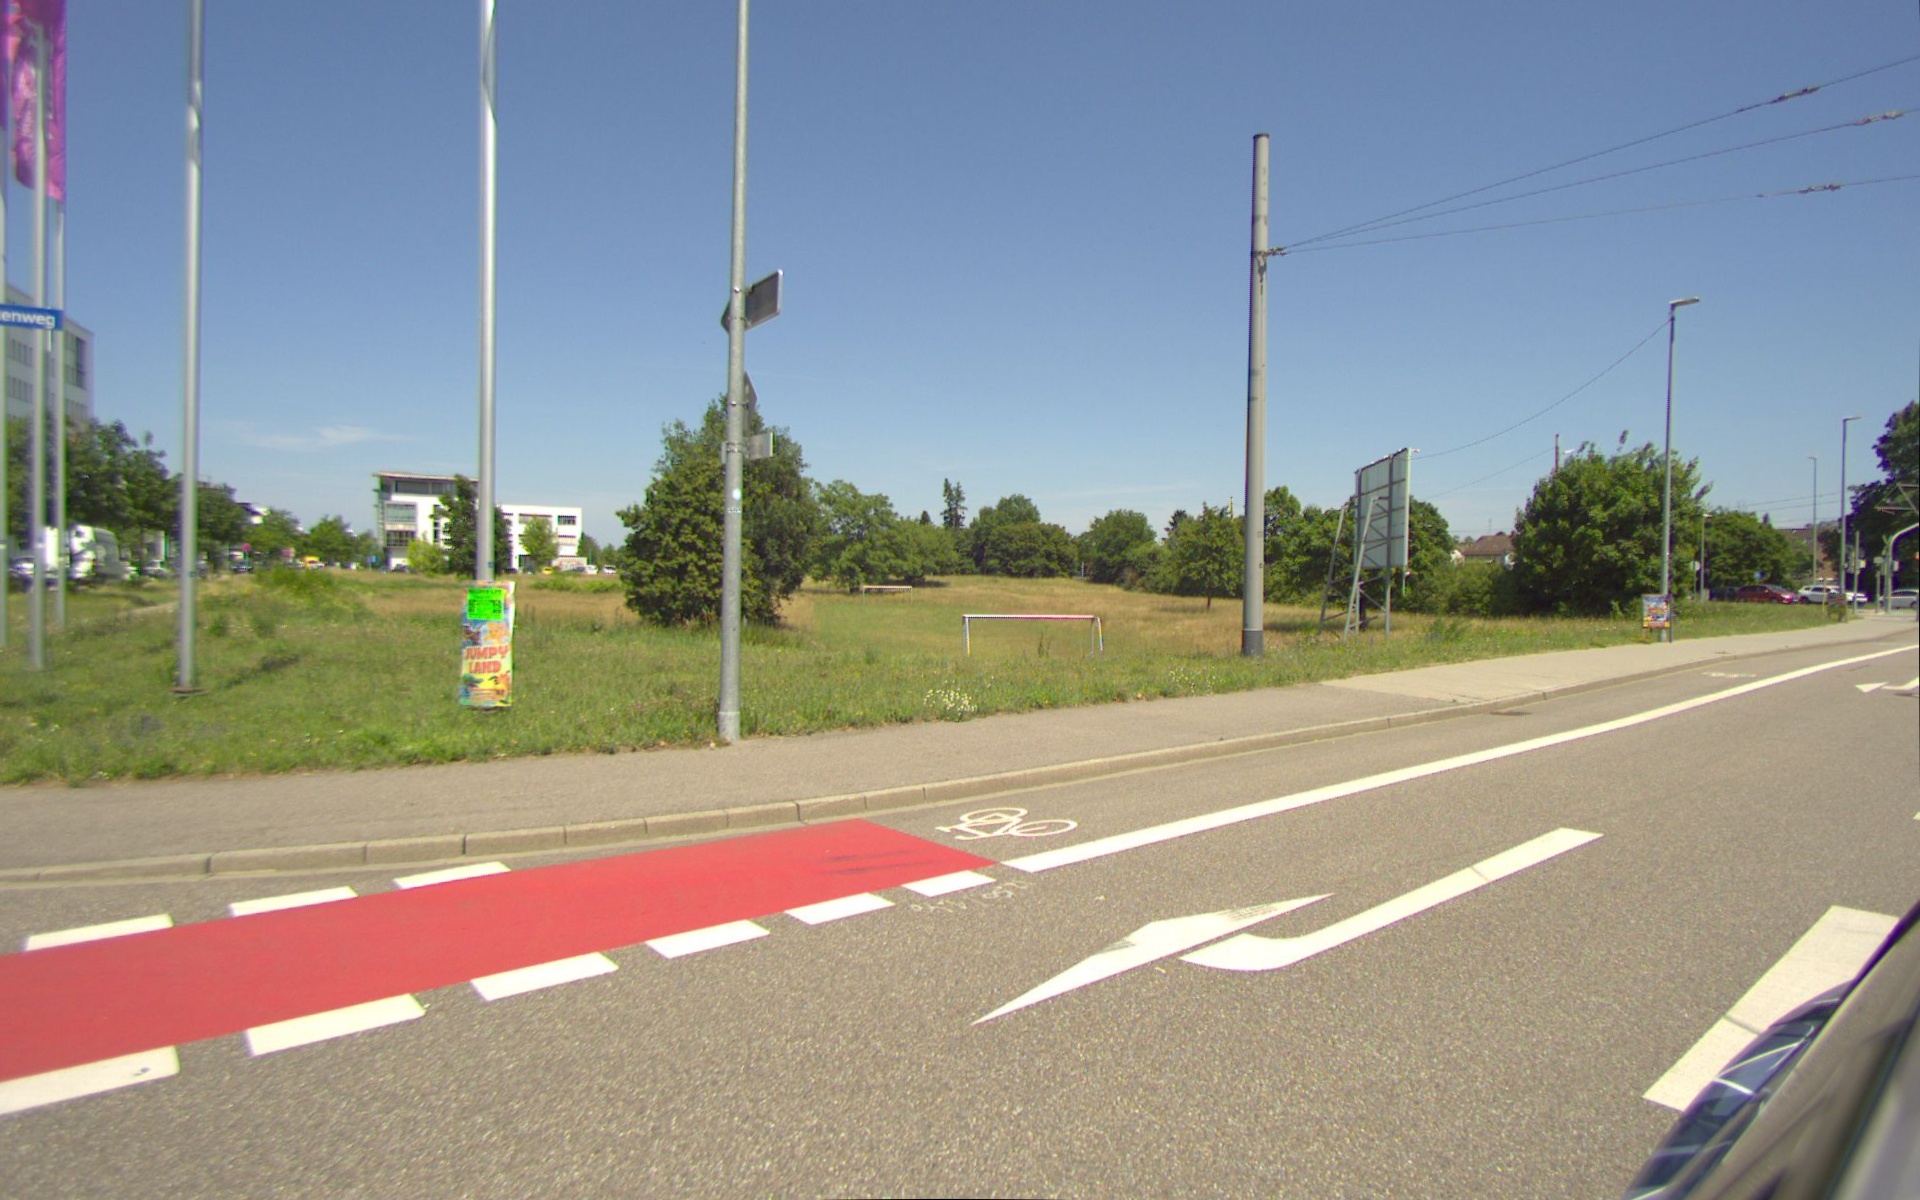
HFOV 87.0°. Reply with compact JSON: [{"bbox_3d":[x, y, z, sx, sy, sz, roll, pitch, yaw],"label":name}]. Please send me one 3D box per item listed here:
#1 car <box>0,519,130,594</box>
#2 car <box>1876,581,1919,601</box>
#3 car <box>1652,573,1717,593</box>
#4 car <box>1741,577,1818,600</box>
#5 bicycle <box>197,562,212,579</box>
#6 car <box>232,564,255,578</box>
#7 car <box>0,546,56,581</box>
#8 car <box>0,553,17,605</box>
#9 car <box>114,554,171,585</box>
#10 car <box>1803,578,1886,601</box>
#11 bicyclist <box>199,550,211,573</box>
[{"bbox_3d":[-36.684,-1.727,41.712,2.615,2.837,6.861,-1,1,-29],"label":"car"},{"bbox_3d":[69.827,-0.655,73.797,1.811,1.443,4.223,1,1,-9],"label":"car"},{"bbox_3d":[60.563,-1.430,84.686,1.836,1.595,4.420,2,1,-9],"label":"car"},{"bbox_3d":[62.154,-0.897,76.858,1.836,1.595,4.420,2,1,-9],"label":"car"},{"bbox_3d":[-55.539,-2.179,74.436,0.601,1.195,1.968,3,1,-29],"label":"bicycle"},{"bbox_3d":[-87.017,-3.521,122.945,1.671,1.552,3.632,5,-3,-28],"label":"car"},{"bbox_3d":[-45.912,-1.756,49.584,1.672,1.552,3.631,0,0,-30],"label":"car"},{"bbox_3d":[-29.843,-0.631,30.394,1.673,1.552,3.628,0,0,-34],"label":"car"},{"bbox_3d":[-43.242,-1.596,53.612,1.671,1.552,3.632,0,0,-28],"label":"car"},{"bbox_3d":[65.772,-0.795,75.336,1.836,1.595,4.420,2,1,-9],"label":"car"},{"bbox_3d":[-55.507,-2.818,74.420,0.597,1.644,0.693,3,0,-29],"label":"bicyclist"}]
